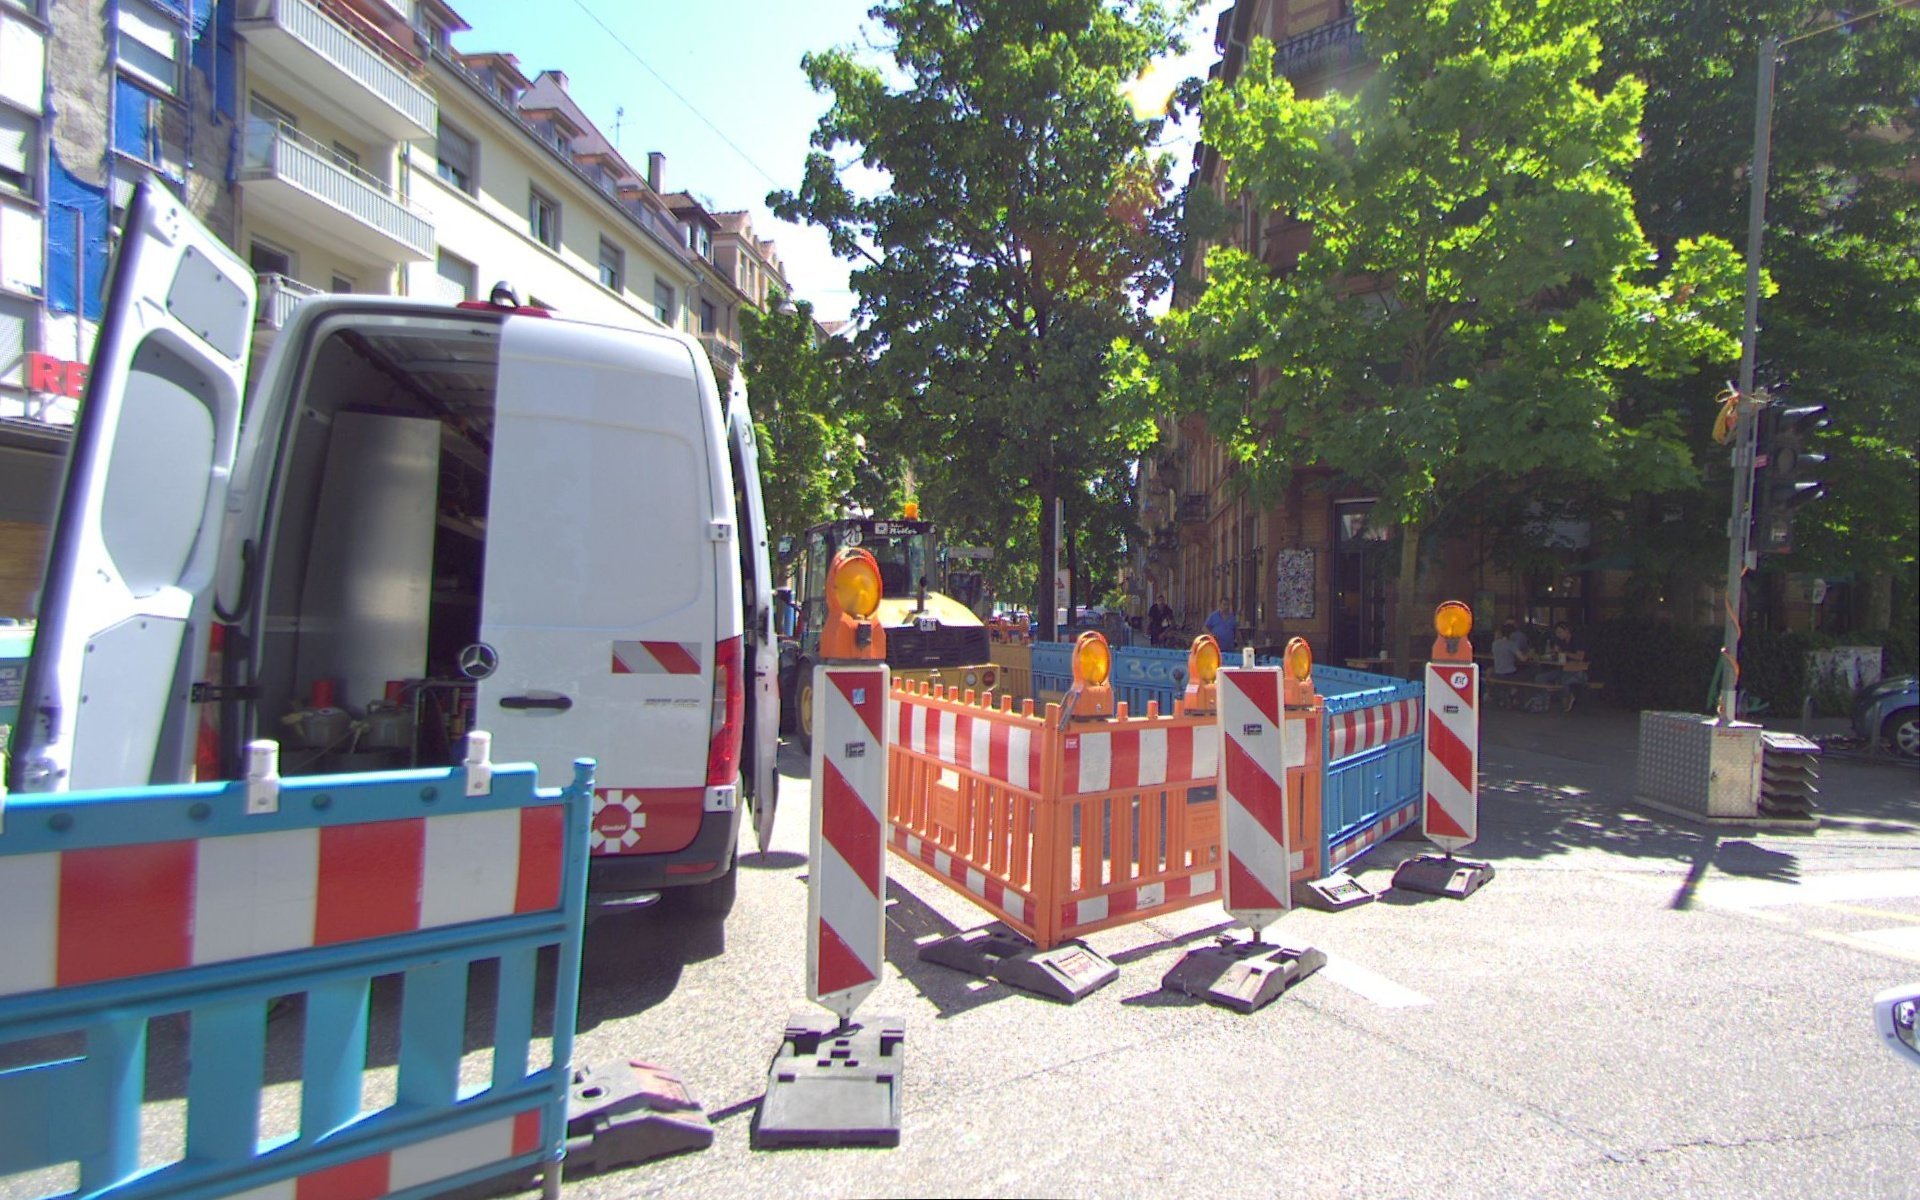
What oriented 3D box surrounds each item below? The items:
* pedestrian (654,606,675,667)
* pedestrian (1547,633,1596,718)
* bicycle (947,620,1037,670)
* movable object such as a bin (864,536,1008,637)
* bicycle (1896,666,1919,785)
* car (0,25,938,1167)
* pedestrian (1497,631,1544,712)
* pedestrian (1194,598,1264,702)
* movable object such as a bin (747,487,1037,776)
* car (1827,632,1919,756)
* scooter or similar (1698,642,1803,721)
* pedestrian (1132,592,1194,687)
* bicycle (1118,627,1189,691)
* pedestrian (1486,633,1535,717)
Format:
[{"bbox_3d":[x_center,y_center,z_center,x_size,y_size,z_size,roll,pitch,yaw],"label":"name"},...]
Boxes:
[{"bbox_3d":[-9.891,1.219,33.606,0.534,2.040,0.413,1,-1,8],"label":"pedestrian"},{"bbox_3d":[9.335,1.135,15.338,0.549,1.236,0.596,1,0,40],"label":"pedestrian"},{"bbox_3d":[0.639,0.904,20.313,1.776,0.947,0.491,1,0,-1],"label":"bicycle"},{"bbox_3d":[-0.672,-0.433,36.336,3.250,3.255,6.750,1,0,17],"label":"movable object such as a bin"},{"bbox_3d":[10.278,1.277,10.416,1.601,1.172,0.336,1,1,-30],"label":"bicycle"},{"bbox_3d":[-1.977,0.081,5.950,2.339,2.787,6.627,2,-1,-13],"label":"car"},{"bbox_3d":[8.946,1.128,16.031,0.549,1.236,0.596,1,0,40],"label":"pedestrian"},{"bbox_3d":[4.621,0.850,17.264,0.917,1.727,0.636,1,1,-20],"label":"pedestrian"},{"bbox_3d":[-1.037,0.312,11.842,1.928,2.694,4.530,1,0,-24],"label":"movable object such as a bin"},{"bbox_3d":[12.826,1.186,11.723,1.987,1.394,3.946,1,1,-45],"label":"car"},{"bbox_3d":[11.747,1.213,14.930,1.443,1.136,0.278,1,2,-8],"label":"scooter or similar"},{"bbox_3d":[4.015,0.770,19.930,0.849,1.814,1.006,1,1,-10],"label":"pedestrian"},{"bbox_3d":[3.815,1.147,19.984,0.591,1.101,2.283,1,1,-10],"label":"bicycle"},{"bbox_3d":[8.424,1.133,15.367,0.549,1.236,0.596,1,0,40],"label":"pedestrian"}]
